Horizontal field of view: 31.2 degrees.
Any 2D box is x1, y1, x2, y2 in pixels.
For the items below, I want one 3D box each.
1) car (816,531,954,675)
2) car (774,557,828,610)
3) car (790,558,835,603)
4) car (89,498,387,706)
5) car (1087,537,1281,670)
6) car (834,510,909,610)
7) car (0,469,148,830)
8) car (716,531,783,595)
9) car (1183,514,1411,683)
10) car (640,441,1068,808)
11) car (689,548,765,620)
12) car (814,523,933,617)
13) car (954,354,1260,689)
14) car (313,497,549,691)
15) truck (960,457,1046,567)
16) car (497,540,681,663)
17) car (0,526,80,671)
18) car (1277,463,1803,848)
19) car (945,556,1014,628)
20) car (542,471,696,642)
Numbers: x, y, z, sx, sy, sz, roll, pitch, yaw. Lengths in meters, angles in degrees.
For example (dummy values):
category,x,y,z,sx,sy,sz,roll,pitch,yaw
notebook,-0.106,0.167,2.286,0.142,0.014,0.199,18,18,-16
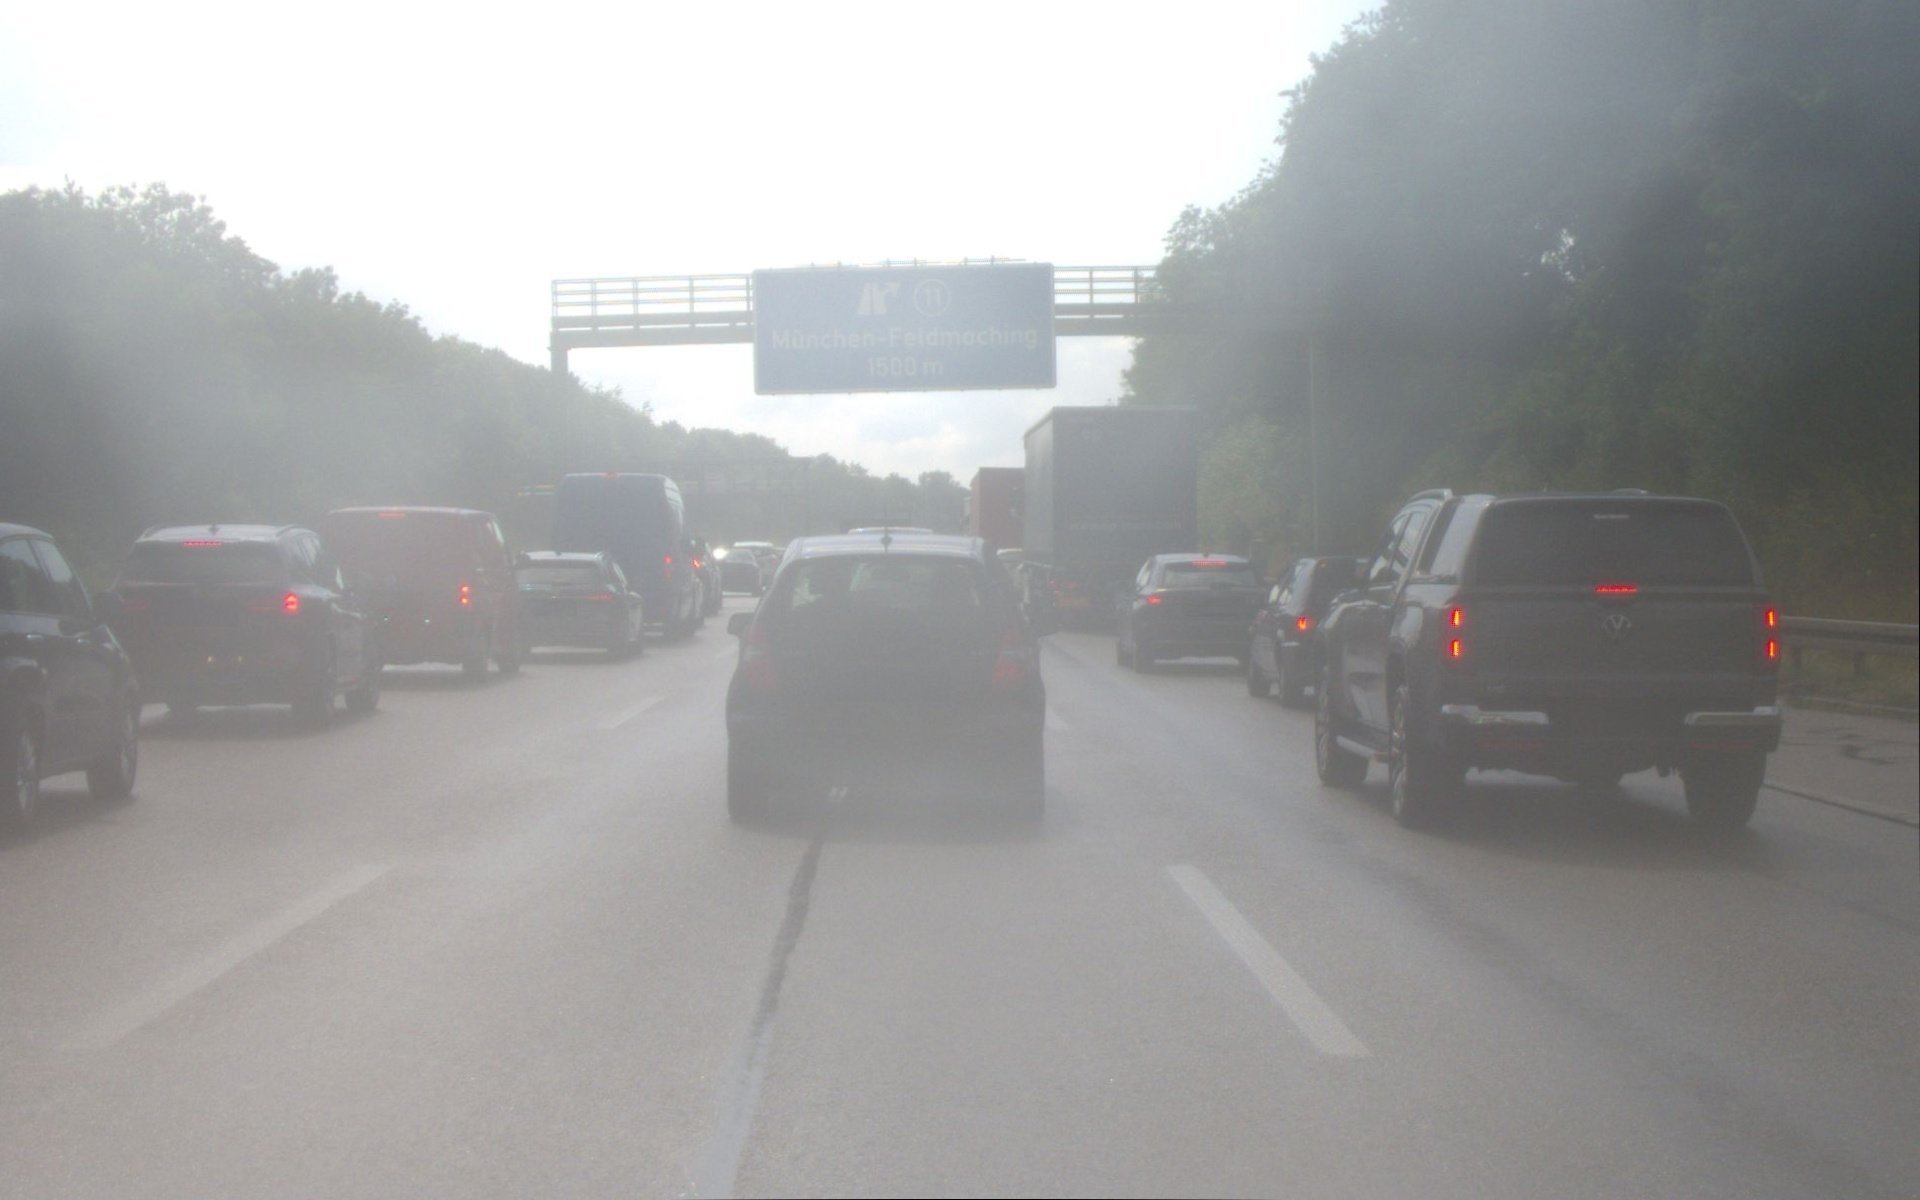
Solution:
category,x,y,z,sx,sy,sz,roll,pitch,yaw
car,-1.025,0.020,45.369,1.692,1.798,3.976,1,0,-3
car,-6.420,-0.684,139.630,1.993,2.108,4.889,1,0,-1
car,-7.065,-0.933,165.368,1.993,2.108,4.889,1,0,-1
car,-6.096,-0.004,29.530,1.908,1.631,4.617,-1,1,-4
car,2.663,0.024,41.724,1.864,1.511,3.976,1,0,-3
car,-2.479,-1.129,97.158,1.993,2.737,5.260,1,0,-1
car,-5.703,0.223,19.079,1.692,1.798,3.976,1,0,-4
car,-7.104,-1.253,116.279,1.993,2.108,4.889,1,0,-1
car,3.177,-0.026,33.037,1.590,1.511,3.976,1,0,-3
car,-0.672,0.112,20.858,2.274,1.948,4.822,1,0,-3
car,-7.058,-0.486,104.431,1.993,2.108,4.889,1,0,-1
car,-1.481,-0.505,57.703,1.864,1.511,3.976,1,0,-3
car,2.563,-1.439,68.615,4.403,5.810,16.820,1,0,-3
car,-5.932,-0.082,39.060,1.978,2.047,4.756,1,0,-1
truck,1.423,-2.943,116.935,2.775,3.619,5.917,1,0,-1
car,-4.942,0.000,46.361,1.993,1.559,4.756,1,0,-1
car,-14.592,-0.049,50.621,2.051,2.039,5.210,1,0,-2
car,3.165,0.256,20.030,1.941,1.912,5.652,1,0,-2
car,0.563,-0.252,103.952,1.993,2.108,4.889,1,0,-1
car,-5.438,-0.686,55.429,1.993,2.606,5.260,1,0,-1
